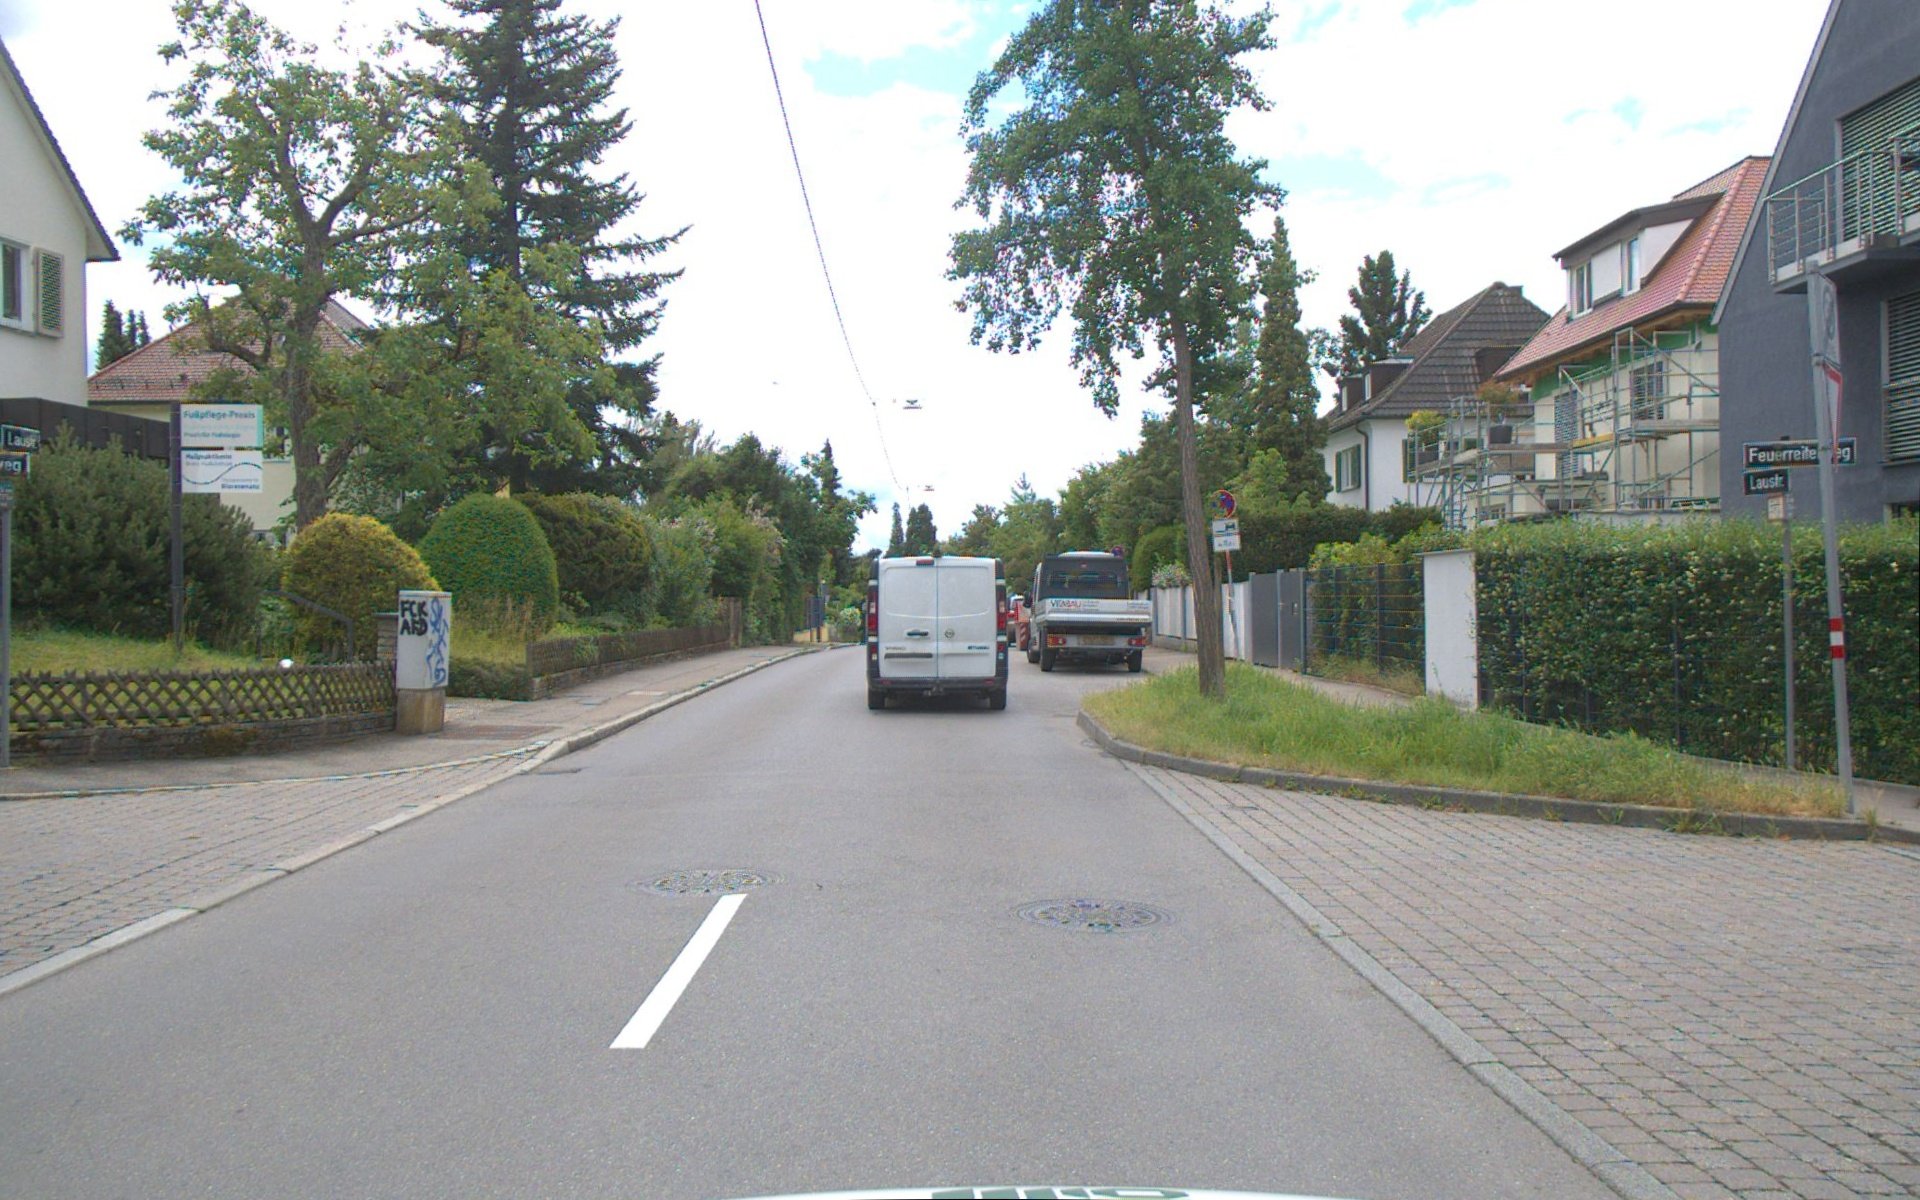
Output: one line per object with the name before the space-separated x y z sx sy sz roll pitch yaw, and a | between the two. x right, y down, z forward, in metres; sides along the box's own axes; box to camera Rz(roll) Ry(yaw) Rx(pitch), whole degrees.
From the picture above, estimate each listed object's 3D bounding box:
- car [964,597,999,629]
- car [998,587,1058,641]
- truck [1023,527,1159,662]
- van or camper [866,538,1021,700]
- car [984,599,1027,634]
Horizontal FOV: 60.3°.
car | 1.146 0.719 90.981 1.709 1.658 4.257 -1 -1 -2
car | 2.225 0.480 55.196 1.709 1.704 4.183 -1 -1 -2
truck | 2.603 -0.102 34.762 2.143 2.515 7.429 1 0 -1
van or camper | -0.255 0.291 22.832 1.900 1.988 4.763 0 -1 -1
car | 2.010 0.744 74.187 1.709 1.472 4.257 -1 -1 -2
